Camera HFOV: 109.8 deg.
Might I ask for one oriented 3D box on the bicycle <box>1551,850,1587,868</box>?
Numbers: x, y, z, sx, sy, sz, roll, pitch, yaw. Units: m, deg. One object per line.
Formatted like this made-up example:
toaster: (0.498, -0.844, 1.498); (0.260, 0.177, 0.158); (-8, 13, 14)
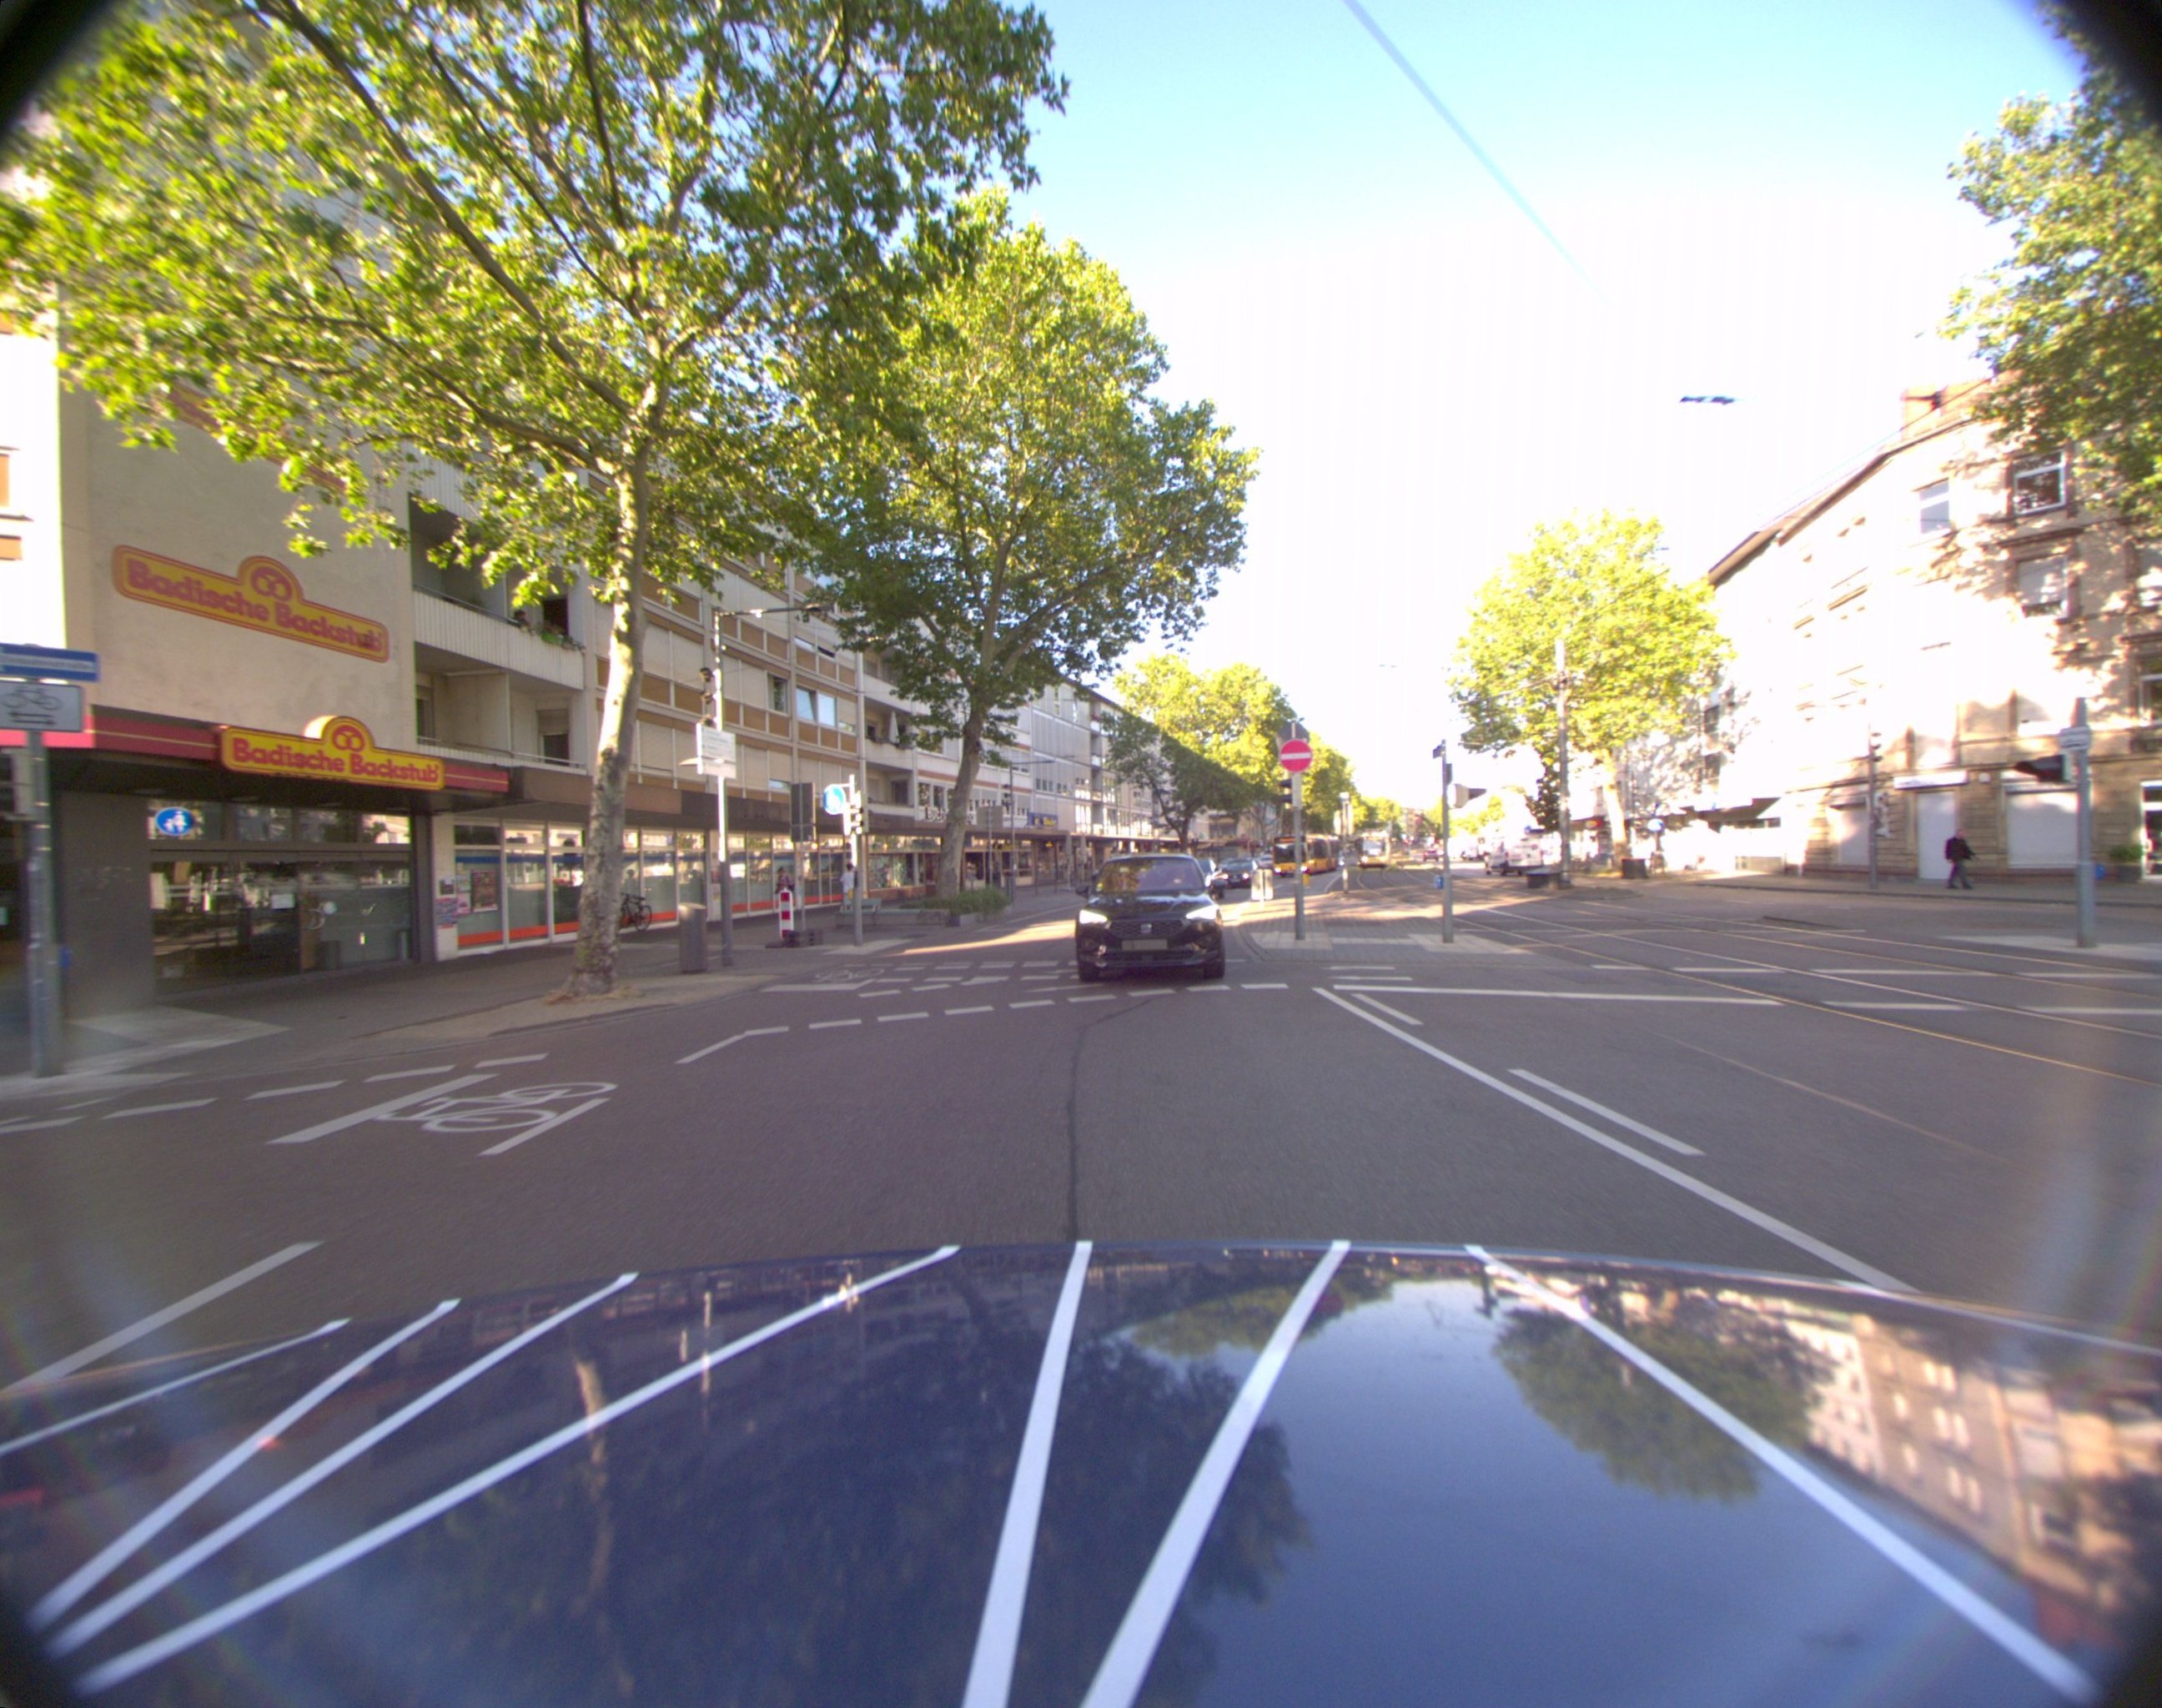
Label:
bicycle: (31.954, 0.344, 49.775); (1.896, 1.117, 0.535); (-3, 0, 20)

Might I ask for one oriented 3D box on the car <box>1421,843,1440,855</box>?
car: (45.313, -0.611, 98.503); (1.888, 1.464, 4.213); (-2, 0, 20)

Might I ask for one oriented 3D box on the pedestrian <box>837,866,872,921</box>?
pedestrian: (-7.190, 1.226, 24.116); (0.837, 1.702, 0.793); (0, 0, 2)

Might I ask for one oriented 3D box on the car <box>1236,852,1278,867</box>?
car: (18.536, 0.536, 80.016); (4.003, 1.428, 1.657); (-1, 2, -18)

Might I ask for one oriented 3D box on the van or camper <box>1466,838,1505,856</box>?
van or camper: (50.612, -0.860, 95.130); (4.455, 1.977, 1.797); (-3, 0, -23)

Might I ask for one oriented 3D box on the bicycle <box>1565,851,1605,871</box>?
bicycle: (30.642, 0.405, 46.232); (1.896, 1.117, 0.653); (-3, 0, 20)

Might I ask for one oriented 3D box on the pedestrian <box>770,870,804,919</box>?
pedestrian: (-9.518, 1.298, 24.609); (0.640, 1.543, 0.808); (-1, 1, 13)

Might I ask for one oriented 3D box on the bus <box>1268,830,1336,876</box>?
bus: (17.240, -0.225, 58.506); (2.867, 2.961, 12.258); (-4, 0, 26)

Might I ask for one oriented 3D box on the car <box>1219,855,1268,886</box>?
car: (8.759, 0.865, 40.747); (1.656, 1.477, 4.168); (-2, 0, 25)

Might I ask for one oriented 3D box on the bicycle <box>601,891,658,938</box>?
bicycle: (-11.583, 1.528, 19.543); (0.438, 1.086, 1.463); (1, 0, 7)

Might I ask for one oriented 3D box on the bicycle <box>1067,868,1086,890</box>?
bicycle: (-0.236, 1.326, 40.546); (0.511, 1.064, 1.663); (0, 1, 17)

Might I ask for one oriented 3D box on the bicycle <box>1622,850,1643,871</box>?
bicycle: (31.378, 0.354, 43.233); (0.509, 1.117, 1.914); (-3, 0, 23)

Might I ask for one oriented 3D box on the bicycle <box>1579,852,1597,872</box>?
bicycle: (29.409, 0.452, 44.080); (0.509, 1.117, 1.914); (-3, 0, 23)

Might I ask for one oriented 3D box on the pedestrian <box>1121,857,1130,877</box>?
pedestrian: (3.579, 1.081, 61.582); (0.537, 1.582, 0.688); (1, 2, 21)

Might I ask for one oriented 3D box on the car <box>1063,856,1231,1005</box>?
car: (0.724, 0.881, 10.748); (1.808, 1.638, 3.999); (-2, 0, -3)

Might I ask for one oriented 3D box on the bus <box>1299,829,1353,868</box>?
bus: (22.605, -0.616, 69.476); (2.867, 2.961, 12.258); (-4, 0, 26)

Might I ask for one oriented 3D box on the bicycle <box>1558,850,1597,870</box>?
bicycle: (31.238, 0.381, 47.843); (1.896, 1.117, 0.653); (-3, 0, 20)

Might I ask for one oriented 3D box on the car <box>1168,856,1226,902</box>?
car: (4.463, 0.904, 28.811); (1.657, 1.571, 4.004); (-2, 0, 15)

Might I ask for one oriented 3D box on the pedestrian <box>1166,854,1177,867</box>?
pedestrian: (9.267, 0.644, 77.793); (0.749, 1.354, 0.964); (-1, 1, 26)

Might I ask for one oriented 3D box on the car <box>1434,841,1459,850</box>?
car: (70.794, -1.568, 147.026); (3.913, 1.481, 1.770); (-4, 0, -1)

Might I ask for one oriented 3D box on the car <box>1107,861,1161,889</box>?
car: (3.177, 1.191, 44.618); (1.780, 1.488, 4.574); (0, 1, 23)

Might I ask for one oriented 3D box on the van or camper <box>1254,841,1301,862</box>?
van or camper: (24.909, -0.314, 96.303); (5.467, 2.455, 1.997); (-2, 0, -18)

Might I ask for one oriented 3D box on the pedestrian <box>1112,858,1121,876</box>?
pedestrian: (2.887, 1.051, 61.966); (0.537, 1.393, 0.688); (1, 2, 21)

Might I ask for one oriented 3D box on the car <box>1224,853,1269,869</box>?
car: (15.984, 0.680, 73.476); (4.004, 1.428, 1.656); (-1, 2, -21)

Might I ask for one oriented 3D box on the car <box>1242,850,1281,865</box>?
car: (20.587, 0.382, 86.608); (4.003, 1.514, 1.657); (-1, 2, -18)

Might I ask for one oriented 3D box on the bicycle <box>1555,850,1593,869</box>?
bicycle: (31.521, 0.364, 48.595); (1.896, 1.117, 0.535); (-3, 0, 20)

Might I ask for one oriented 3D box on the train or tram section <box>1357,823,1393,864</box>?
train or tram section: (27.151, -0.947, 69.952); (2.634, 3.429, 11.147); (-3, 0, 23)

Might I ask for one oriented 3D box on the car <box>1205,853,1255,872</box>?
car: (13.153, 0.719, 66.915); (4.005, 1.597, 1.806); (-1, 0, -26)

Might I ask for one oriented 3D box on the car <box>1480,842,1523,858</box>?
car: (45.636, -0.405, 82.440); (4.456, 1.481, 1.766); (-3, 0, -25)

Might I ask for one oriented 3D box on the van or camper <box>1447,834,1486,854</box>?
van or camper: (58.155, -1.456, 114.593); (6.407, 2.651, 1.996); (-3, 0, -30)

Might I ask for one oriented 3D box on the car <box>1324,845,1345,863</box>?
car: (28.090, 0.031, 84.126); (1.995, 1.892, 4.006); (-2, 0, 22)

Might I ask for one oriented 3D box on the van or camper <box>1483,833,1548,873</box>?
van or camper: (26.118, -0.036, 45.881); (2.170, 2.305, 5.110); (0, 0, 15)

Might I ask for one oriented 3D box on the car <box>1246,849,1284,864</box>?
car: (21.705, 0.286, 89.623); (4.003, 1.555, 1.657); (-1, 2, -18)

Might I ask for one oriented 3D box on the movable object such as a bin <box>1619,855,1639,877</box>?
movable object such as a bin: (27.373, 0.577, 37.957); (0.648, 1.087, 0.544); (-1, 0, -28)

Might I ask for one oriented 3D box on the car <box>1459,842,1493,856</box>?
car: (52.859, -0.704, 101.682); (4.003, 1.576, 1.876); (-3, 0, -22)

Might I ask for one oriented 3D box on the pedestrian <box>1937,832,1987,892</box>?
pedestrian: (27.037, 0.235, 23.333); (0.619, 1.777, 0.972); (-4, 0, 26)

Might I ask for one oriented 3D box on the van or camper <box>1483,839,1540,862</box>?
van or camper: (40.880, -0.353, 72.131); (4.819, 1.886, 1.948); (-3, 0, -21)
